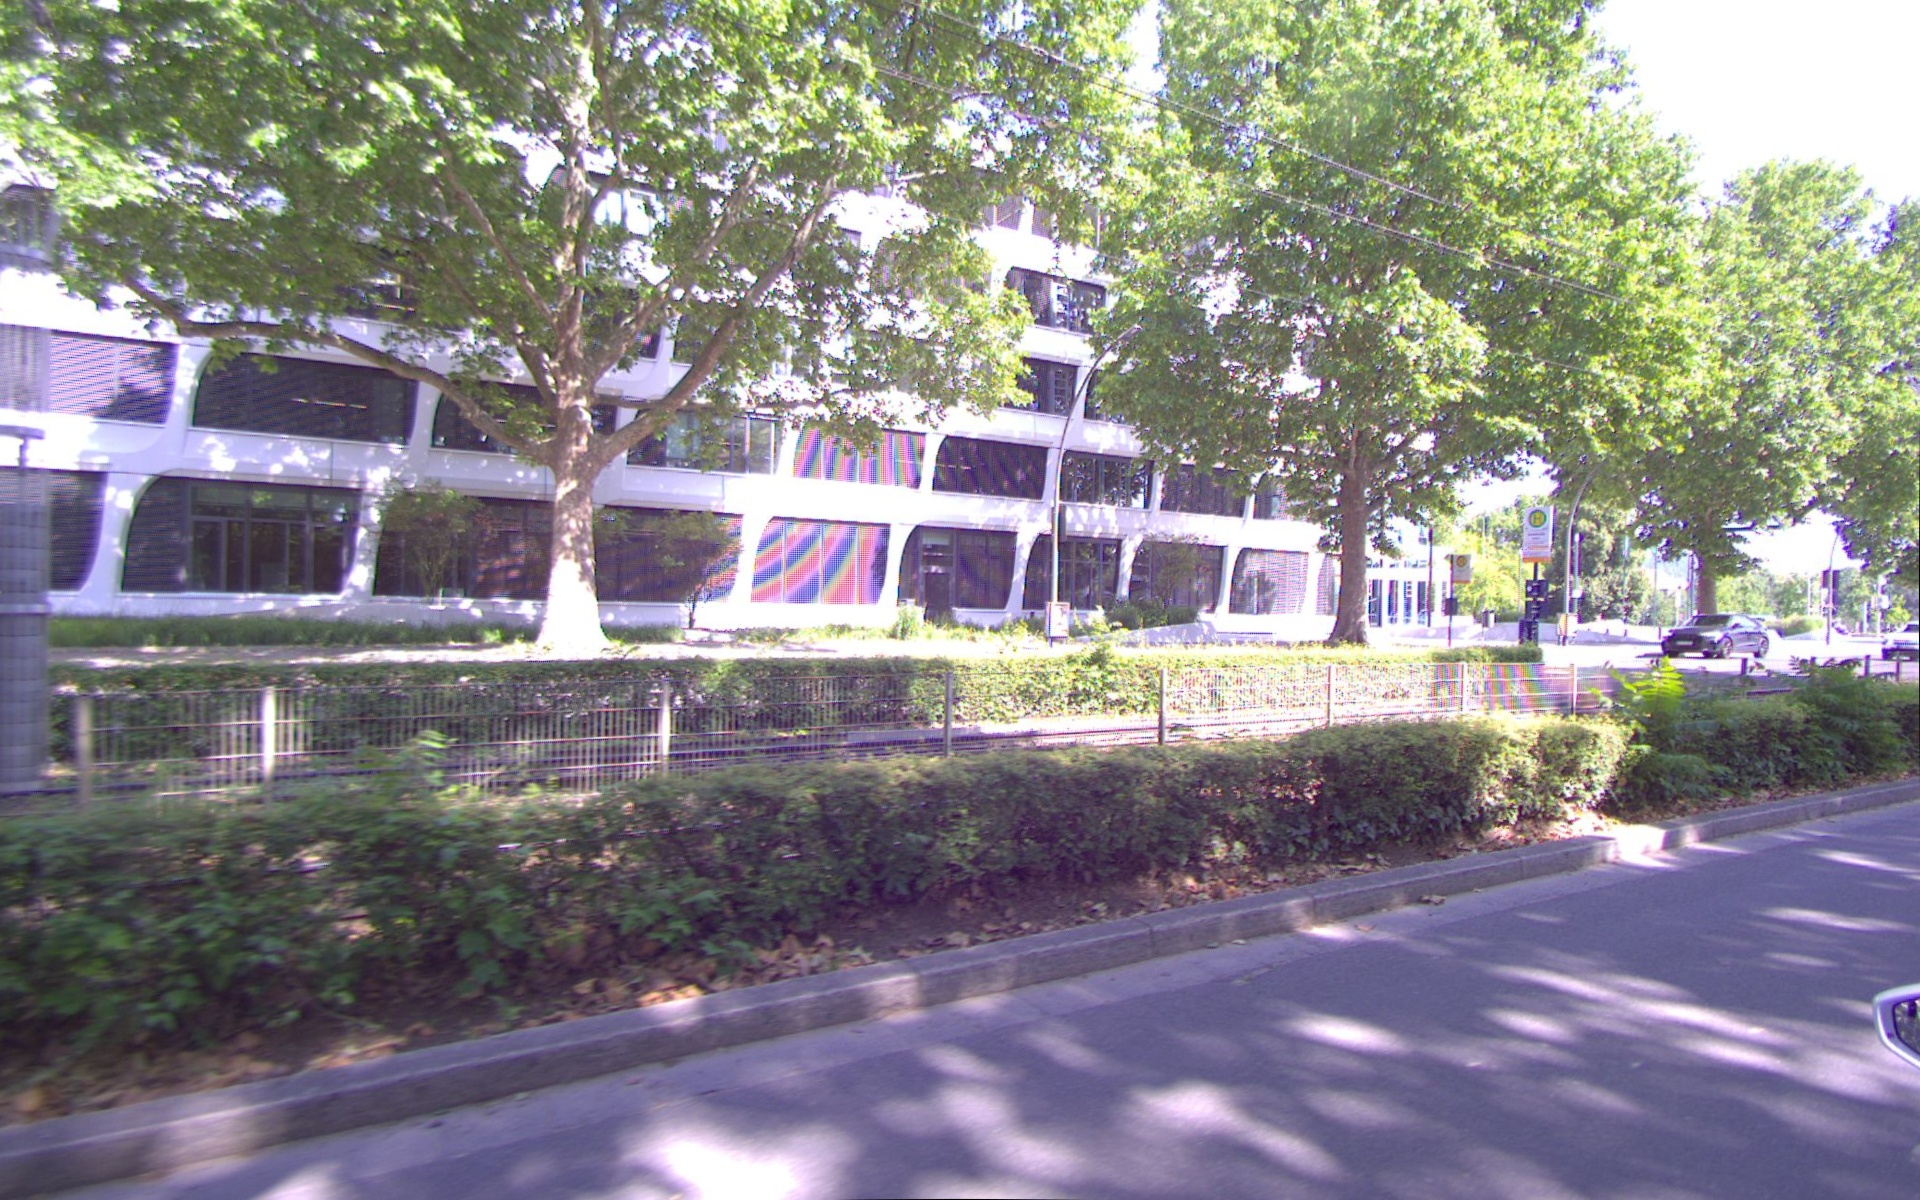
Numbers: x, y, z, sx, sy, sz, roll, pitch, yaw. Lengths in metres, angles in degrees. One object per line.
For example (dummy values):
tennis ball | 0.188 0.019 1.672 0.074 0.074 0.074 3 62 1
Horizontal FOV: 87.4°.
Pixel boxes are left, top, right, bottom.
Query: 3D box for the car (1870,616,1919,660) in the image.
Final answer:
car | 36.794 1.452 38.339 4.253 1.584 1.802 1 0 -30

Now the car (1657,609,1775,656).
car | 28.564 1.209 37.907 4.838 1.646 1.821 1 0 -30

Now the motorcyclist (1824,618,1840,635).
motorcyclist | 68.971 2.069 79.425 0.597 1.332 0.749 1 0 -29
